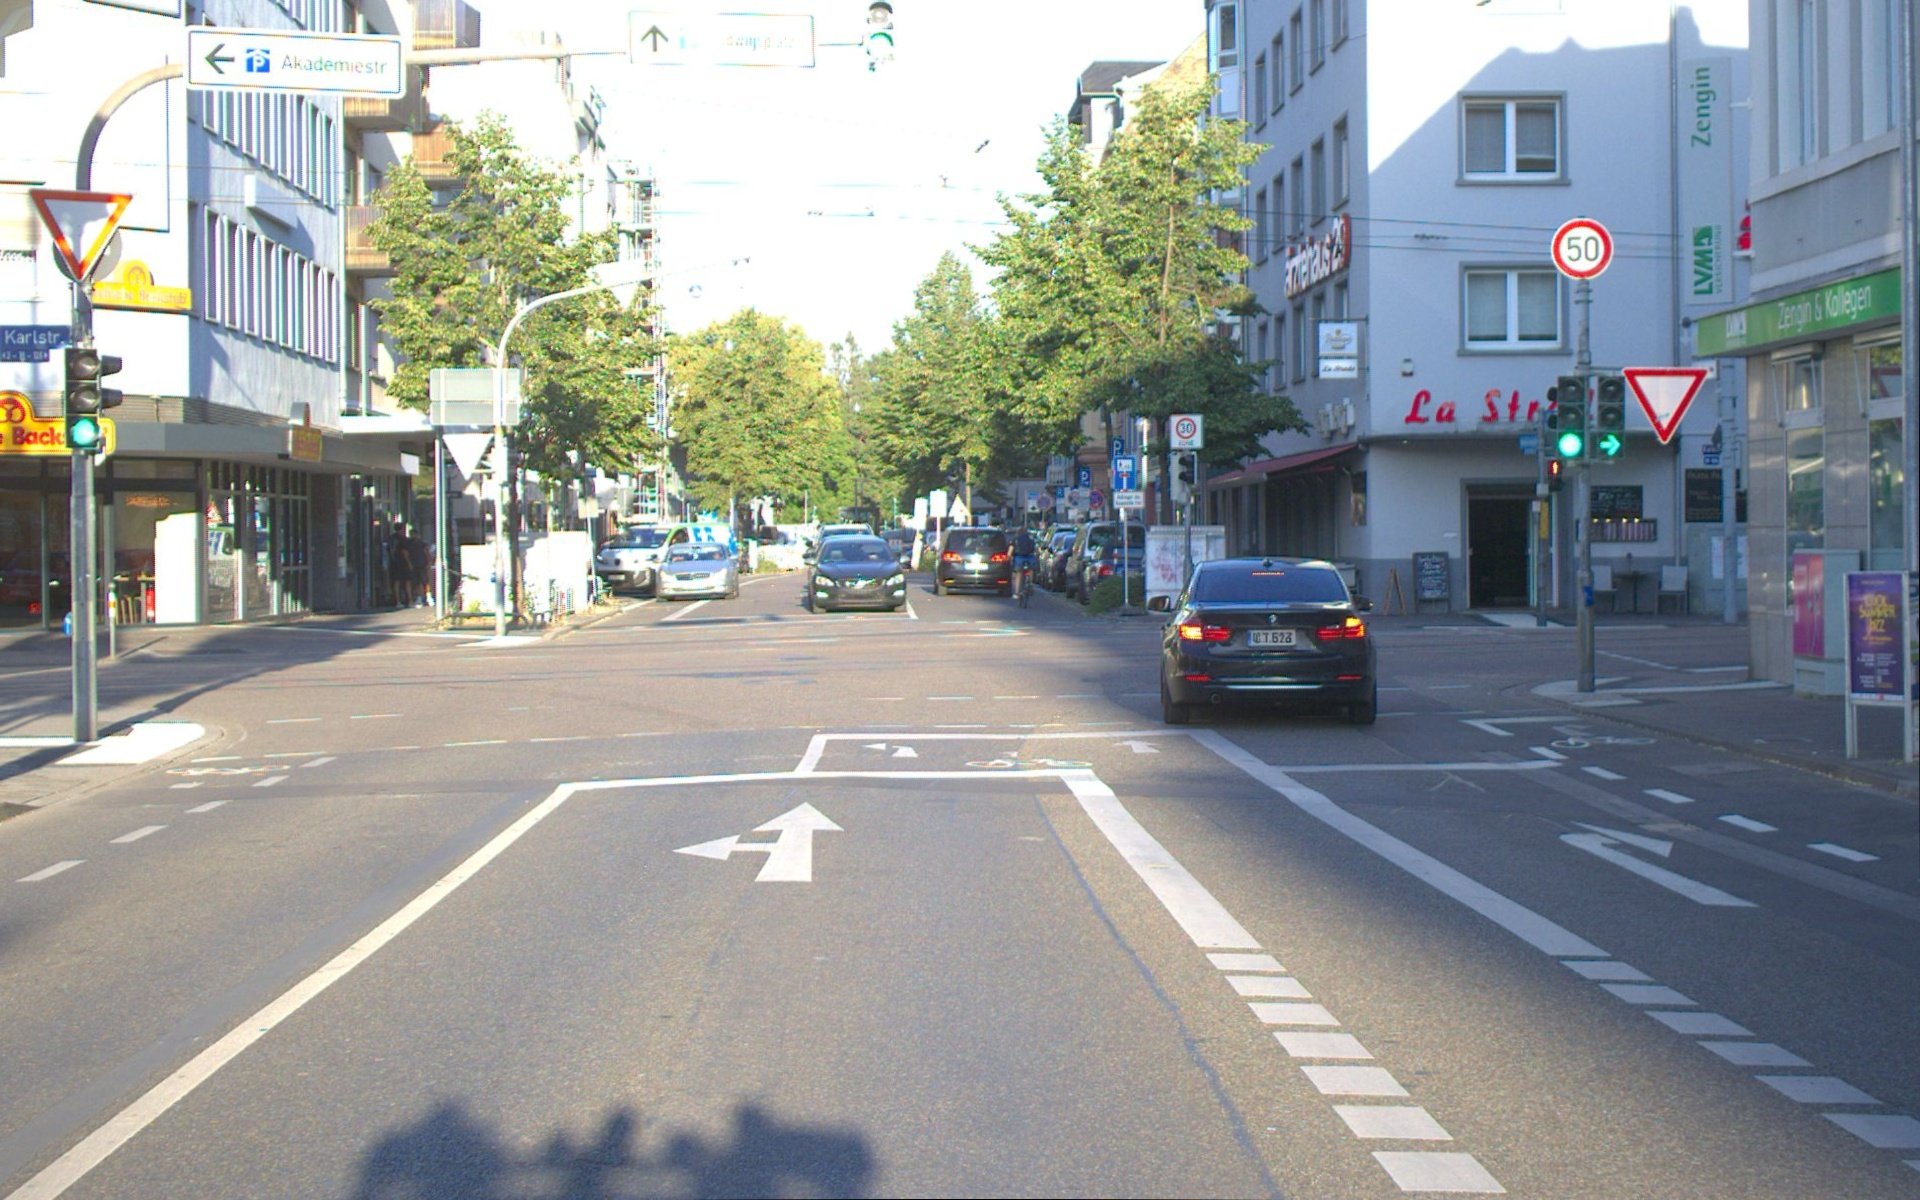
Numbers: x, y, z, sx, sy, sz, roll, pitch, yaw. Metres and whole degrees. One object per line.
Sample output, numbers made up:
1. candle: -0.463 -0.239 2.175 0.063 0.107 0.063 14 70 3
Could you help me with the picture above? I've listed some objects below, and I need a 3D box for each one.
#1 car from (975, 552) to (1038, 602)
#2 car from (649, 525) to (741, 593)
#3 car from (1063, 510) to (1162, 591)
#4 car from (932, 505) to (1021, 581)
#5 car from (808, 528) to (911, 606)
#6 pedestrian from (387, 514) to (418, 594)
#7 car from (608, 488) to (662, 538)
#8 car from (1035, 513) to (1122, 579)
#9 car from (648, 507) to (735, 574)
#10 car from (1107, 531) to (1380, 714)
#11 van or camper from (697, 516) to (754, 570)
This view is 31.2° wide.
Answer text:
1. car: 1.519 -0.775 113.737 1.780 1.590 3.635 0 1 -4
2. car: -6.324 -0.996 82.410 1.894 1.590 4.000 0 1 0
3. car: 3.389 -1.124 77.046 1.993 1.773 4.000 0 1 -1
4. car: 0.360 -1.346 80.456 1.993 1.744 4.000 0 1 -1
5. car: -1.943 -0.671 67.552 1.885 1.481 4.000 0 1 0
6. pedestrian: -11.996 -1.003 73.982 0.600 1.715 0.578 0 1 -15
7. car: -13.357 -3.580 141.456 1.828 2.007 3.676 0 1 0
8. car: 2.943 -1.362 86.288 1.993 1.611 4.000 0 1 -1
9. car: -7.125 -1.587 91.618 1.993 1.744 4.000 0 1 0
10. car: 2.407 0.143 30.213 1.888 1.486 4.205 0 1 -2
11. van or camper: -10.431 -2.540 152.763 2.472 2.397 4.001 0 1 -5
